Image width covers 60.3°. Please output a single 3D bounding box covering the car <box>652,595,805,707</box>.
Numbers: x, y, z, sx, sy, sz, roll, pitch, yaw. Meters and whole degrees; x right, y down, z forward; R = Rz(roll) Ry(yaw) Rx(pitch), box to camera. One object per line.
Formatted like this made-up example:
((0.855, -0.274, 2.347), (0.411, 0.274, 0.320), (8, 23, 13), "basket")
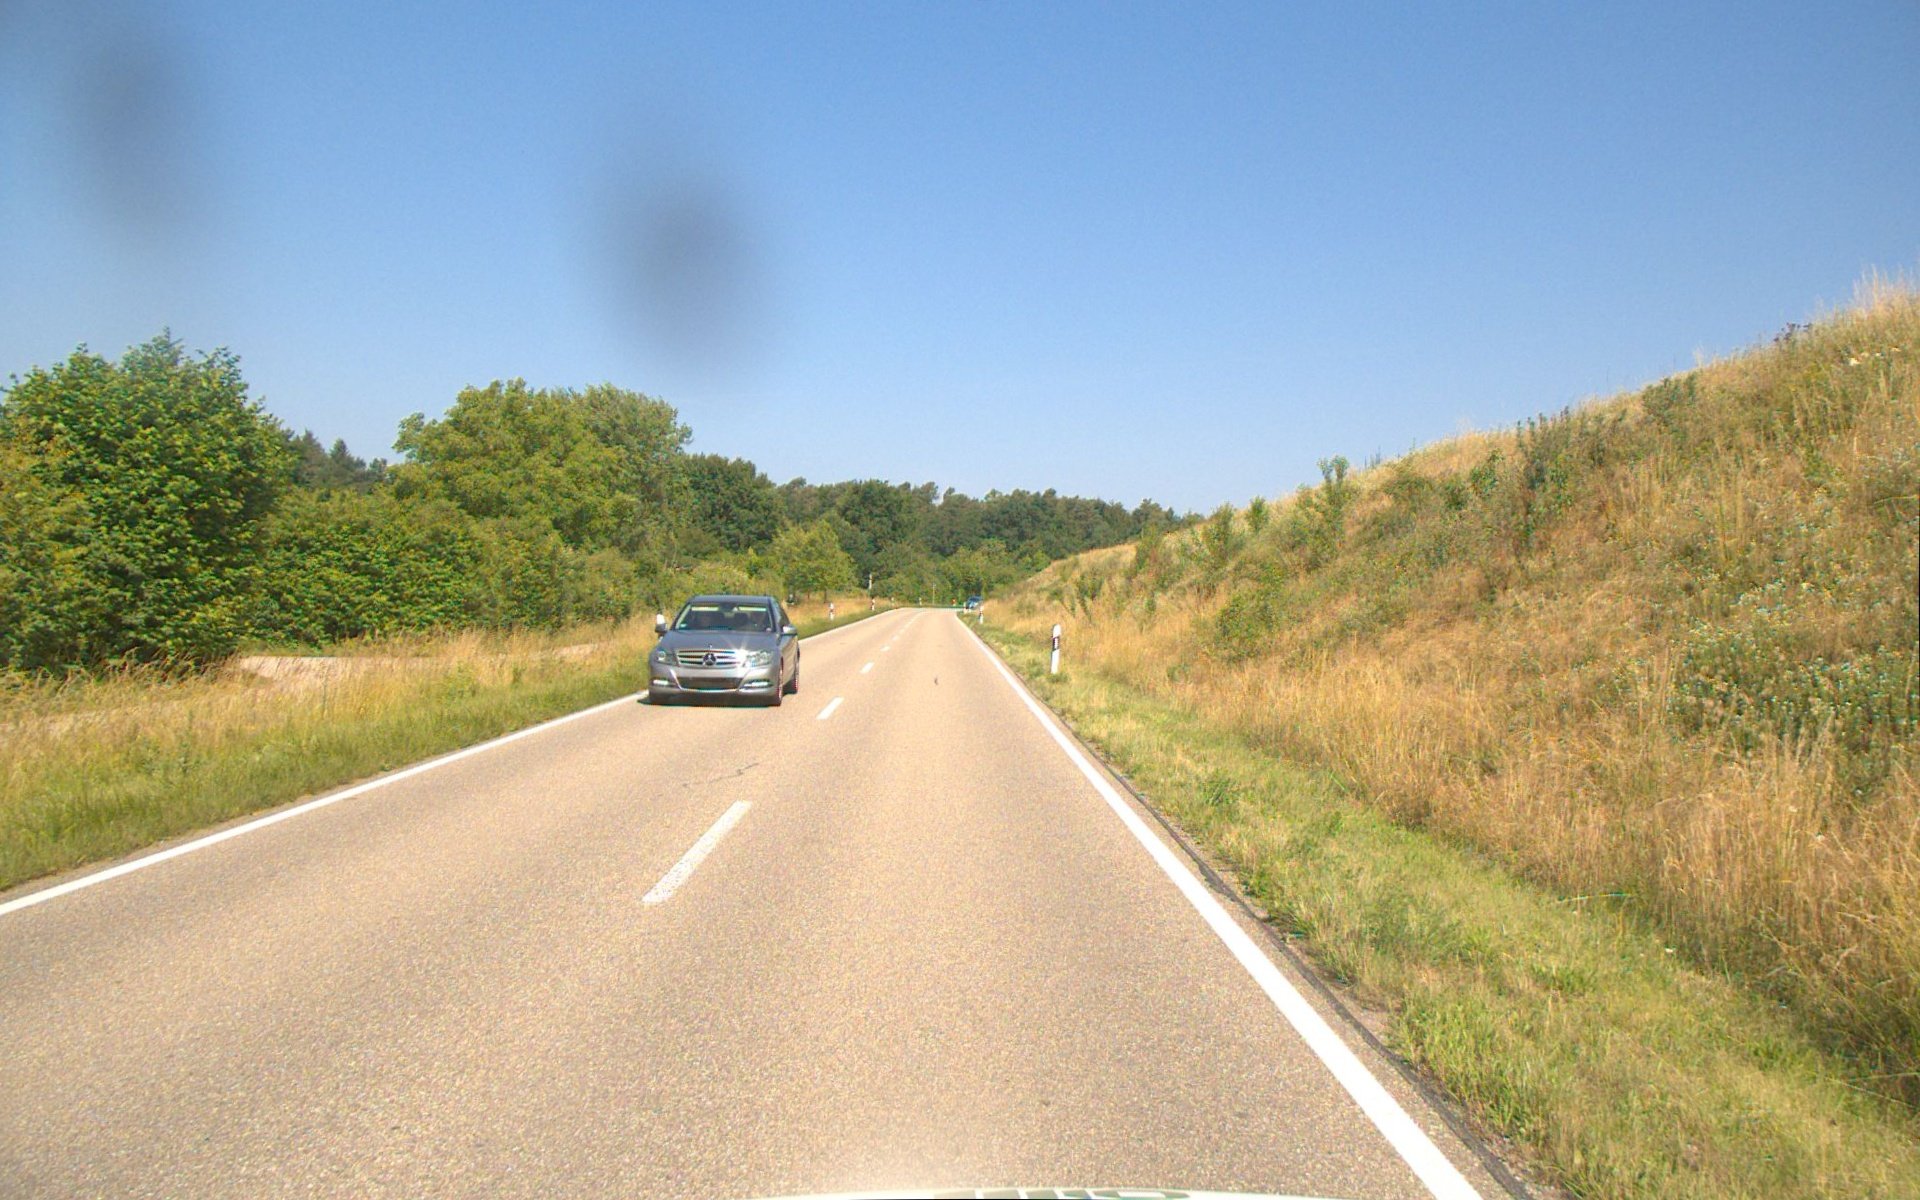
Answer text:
((-3.167, 0.671, 23.298), (1.688, 1.377, 3.998), (2, 0, -2), "car")
